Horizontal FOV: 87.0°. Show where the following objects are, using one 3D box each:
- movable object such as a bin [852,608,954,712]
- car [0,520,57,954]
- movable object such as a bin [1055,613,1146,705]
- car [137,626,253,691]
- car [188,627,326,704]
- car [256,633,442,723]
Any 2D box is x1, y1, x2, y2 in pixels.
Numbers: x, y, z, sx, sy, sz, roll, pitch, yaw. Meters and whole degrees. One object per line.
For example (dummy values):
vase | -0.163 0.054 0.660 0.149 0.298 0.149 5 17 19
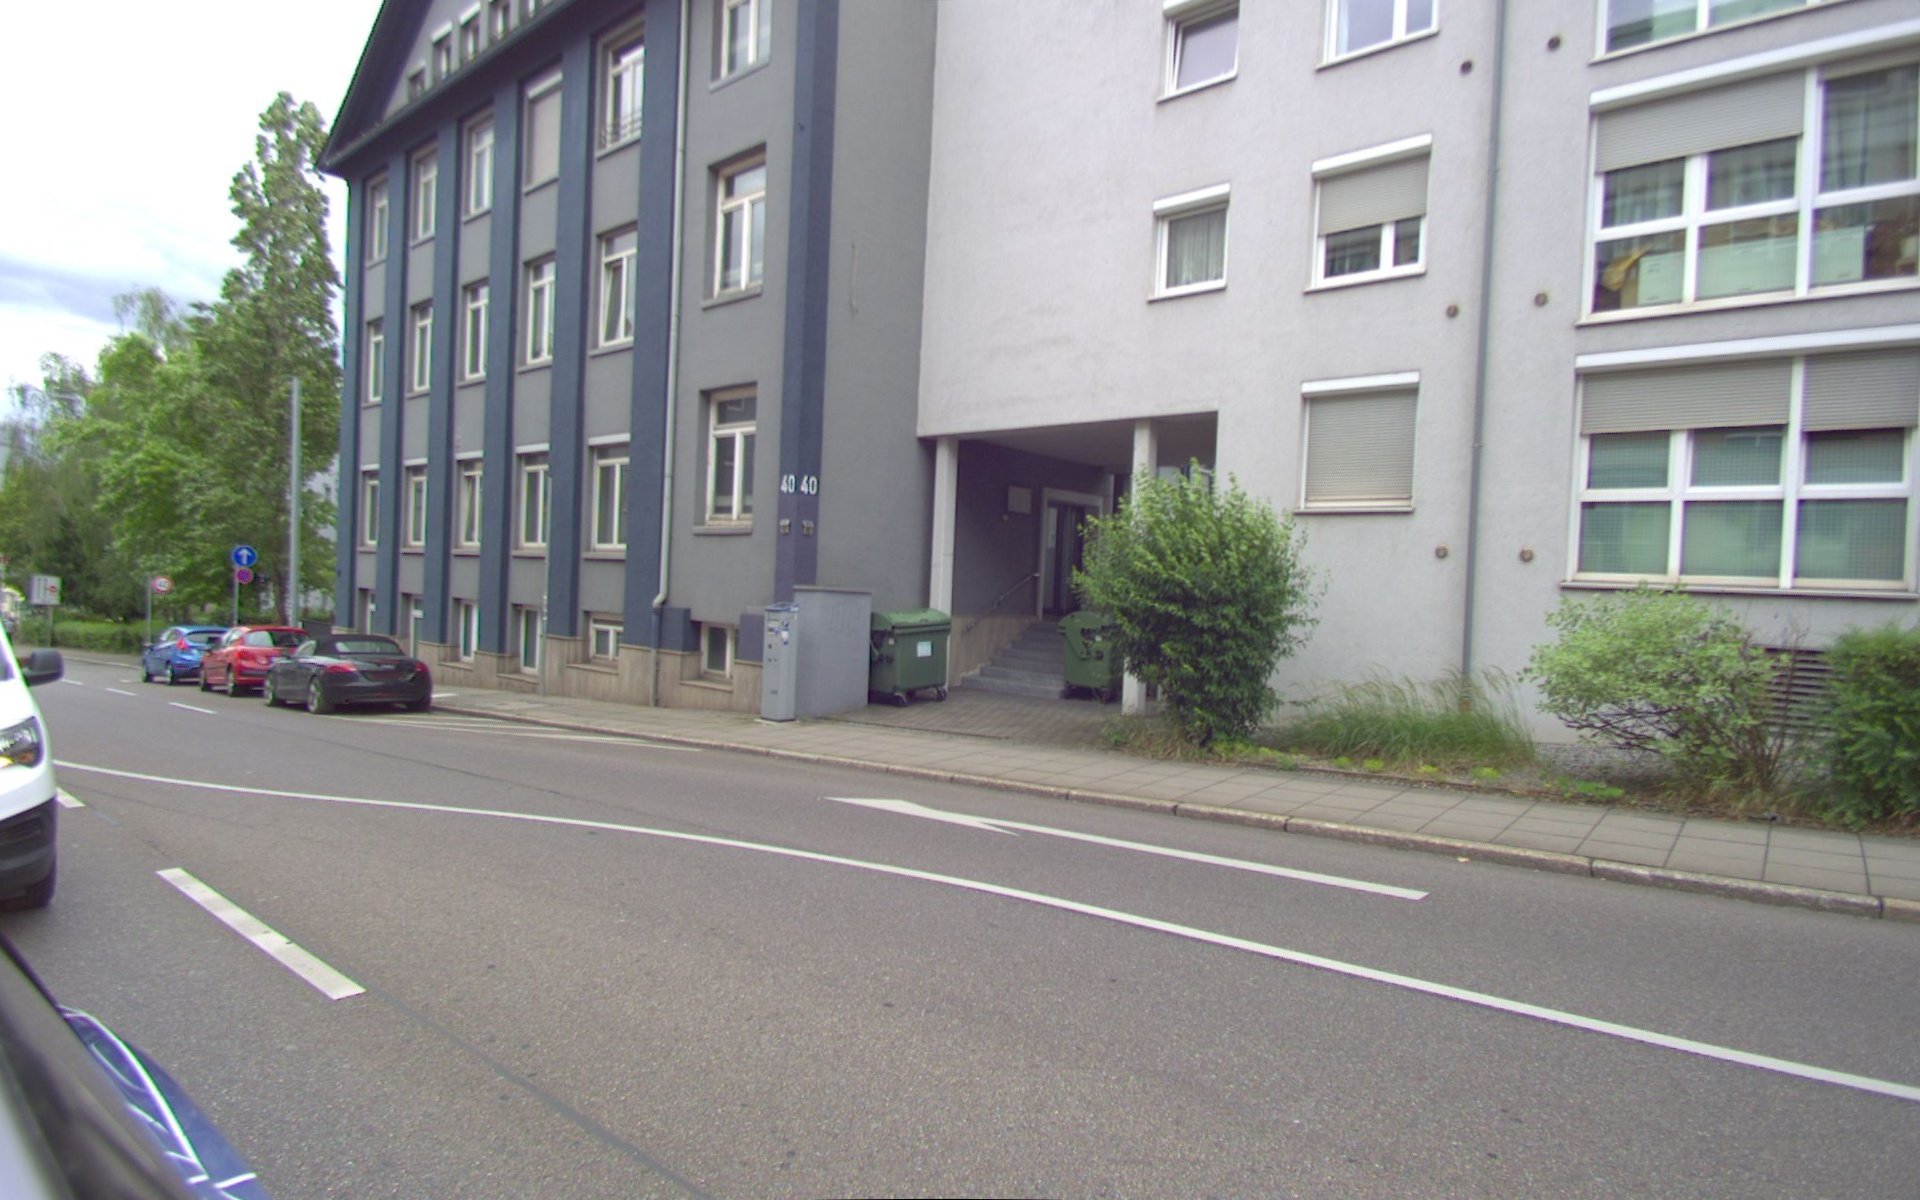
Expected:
movable object such as a bin | -0.879 0.891 15.704 1.039 1.518 1.213 -1 0 41
car | -6.147 0.625 5.241 3.998 1.901 1.716 -1 0 41
movable object such as a bin | 2.304 0.932 16.587 1.078 1.427 1.026 -1 0 41
car | -19.408 1.424 25.617 3.727 1.460 1.623 -1 0 41
car | -15.356 1.365 22.034 3.727 1.460 1.623 -1 0 41
car | -10.971 1.306 18.093 3.727 1.403 1.778 -1 -2 41
